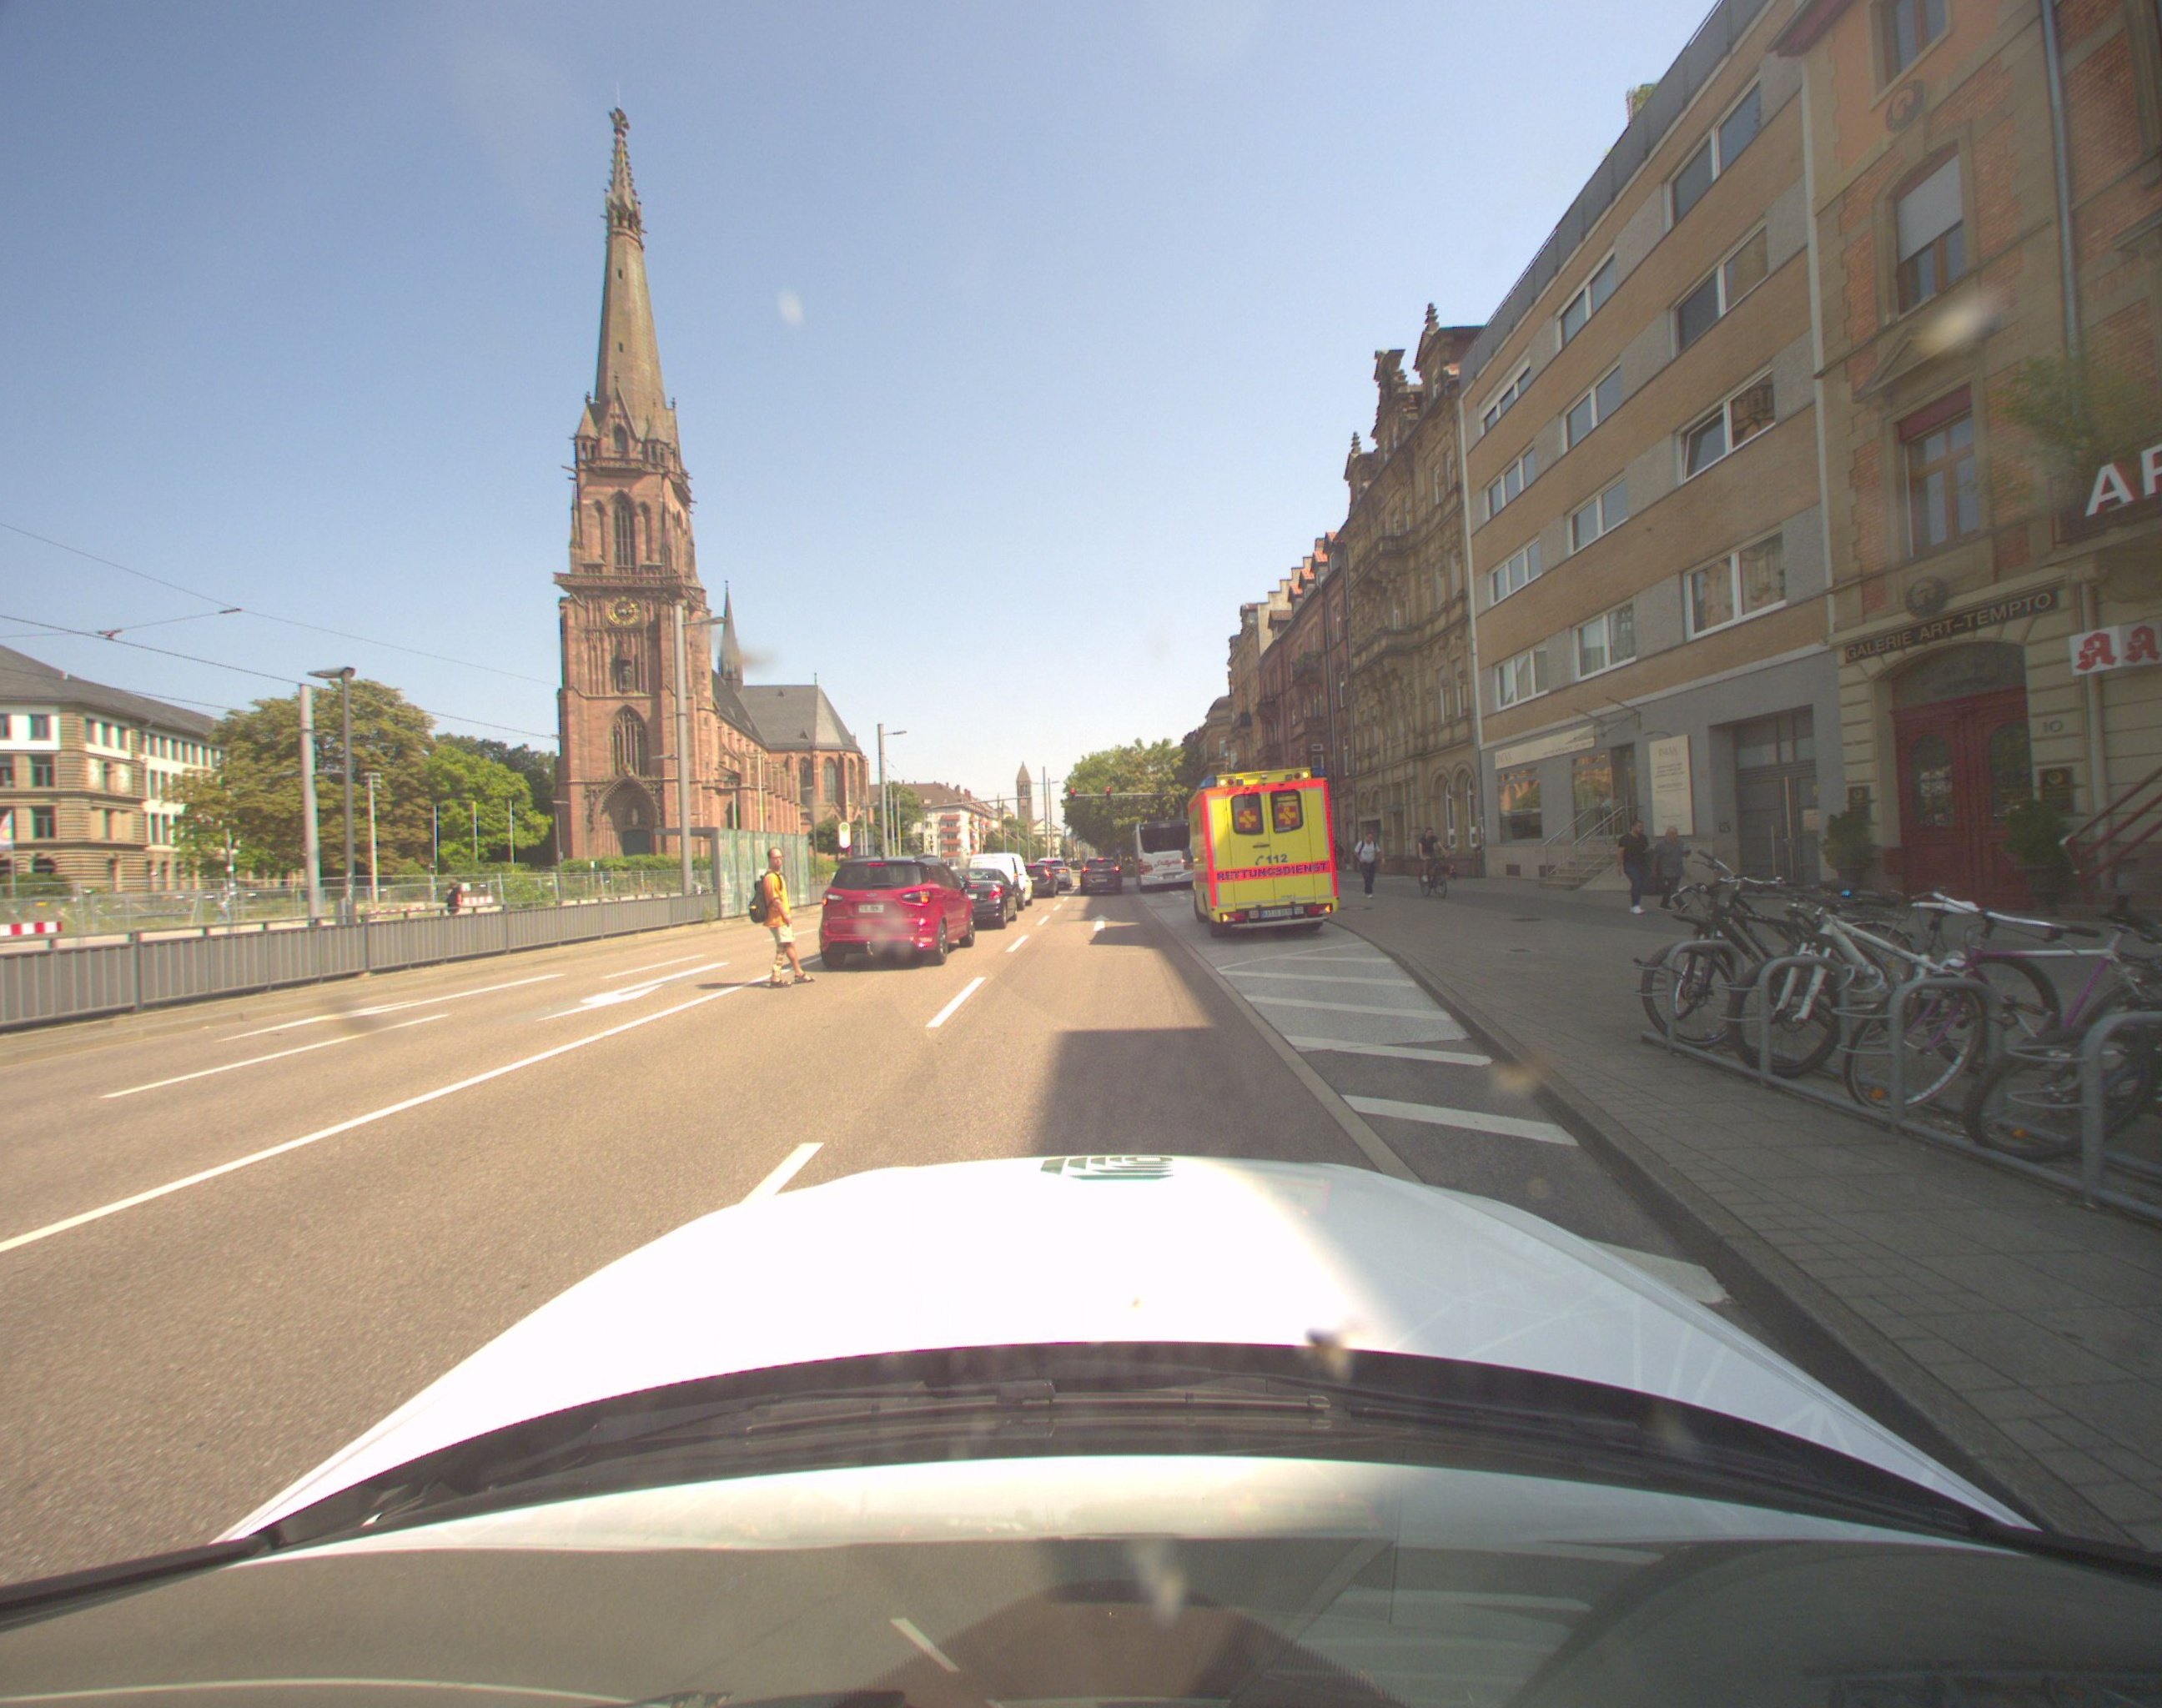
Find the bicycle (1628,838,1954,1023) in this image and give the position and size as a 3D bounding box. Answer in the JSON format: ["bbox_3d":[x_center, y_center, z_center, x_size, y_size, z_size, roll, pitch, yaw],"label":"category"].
[{"bbox_3d":[5.015,0.529,5.846,1.665,1.215,0.645,-2,-1,6],"label":"bicycle"}]

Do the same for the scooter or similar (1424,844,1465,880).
[{"bbox_3d":[12.695,0.285,28.456,0.514,1.196,1.296,-2,-1,-17],"label":"scooter or similar"}]

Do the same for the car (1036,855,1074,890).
[{"bbox_3d":[-1.352,0.993,43.127,1.784,1.698,3.999,-2,-1,0],"label":"car"}]

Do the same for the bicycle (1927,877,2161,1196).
[{"bbox_3d":[4.225,0.636,3.078,1.531,1.071,0.472,-2,1,1],"label":"bicycle"}]

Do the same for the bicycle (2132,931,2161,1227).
[{"bbox_3d":[4.256,0.713,2.507,1.531,0.952,0.365,-2,1,1],"label":"bicycle"}]

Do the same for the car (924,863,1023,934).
[{"bbox_3d":[-2.479,0.981,19.652,1.784,1.431,3.999,-3,0,0],"label":"car"}]

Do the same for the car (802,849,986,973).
[{"bbox_3d":[-2.808,0.786,13.209,1.755,1.618,4.086,-3,0,3],"label":"car"}]

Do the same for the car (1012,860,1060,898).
[{"bbox_3d":[-1.886,1.043,35.187,1.784,1.472,3.999,-2,-1,0],"label":"car"}]

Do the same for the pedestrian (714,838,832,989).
[{"bbox_3d":[-3.792,0.720,10.080,1.059,1.752,0.765,-3,-1,8],"label":"pedestrian"}]

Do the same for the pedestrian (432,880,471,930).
[{"bbox_3d":[-22.965,1.852,29.711,0.826,1.752,0.721,-3,-1,2],"label":"pedestrian"}]

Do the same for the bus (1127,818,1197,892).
[{"bbox_3d":[3.788,0.066,40.848,2.524,3.032,12.440,-3,0,2],"label":"bus"}]

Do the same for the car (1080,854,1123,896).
[{"bbox_3d":[0.885,0.932,36.533,1.784,1.677,3.999,-2,-1,0],"label":"car"}]

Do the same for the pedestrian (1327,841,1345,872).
[{"bbox_3d":[13.454,0.148,43.049,0.621,1.593,0.695,-3,-1,-4],"label":"pedestrian"}]

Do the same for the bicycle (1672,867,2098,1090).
[{"bbox_3d":[4.332,0.641,4.478,1.652,1.072,0.644,-2,-1,1],"label":"bicycle"}]

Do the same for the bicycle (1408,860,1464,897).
[{"bbox_3d":[8.882,0.604,20.452,0.587,0.855,1.775,-4,-2,0],"label":"bicycle"}]

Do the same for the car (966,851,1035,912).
[{"bbox_3d":[-2.573,0.888,26.851,1.784,1.780,3.999,-2,-1,0],"label":"car"}]

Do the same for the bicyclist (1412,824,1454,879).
[{"bbox_3d":[8.818,-0.051,20.401,0.750,1.322,0.582,-3,-1,1],"label":"bicyclist"}]

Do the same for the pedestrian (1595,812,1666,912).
[{"bbox_3d":[9.681,0.142,14.376,0.641,1.685,0.789,-3,-1,1],"label":"pedestrian"}]

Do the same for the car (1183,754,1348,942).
[{"bbox_3d":[3.312,-0.103,15.924,2.288,2.888,5.608,-4,0,6],"label":"car"}]

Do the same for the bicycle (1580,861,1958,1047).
[{"bbox_3d":[4.316,0.616,5.225,1.767,1.072,0.645,-2,-1,6],"label":"bicycle"}]

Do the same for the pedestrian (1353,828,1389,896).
[{"bbox_3d":[7.423,0.203,20.833,0.690,1.667,0.606,-4,0,27],"label":"pedestrian"}]

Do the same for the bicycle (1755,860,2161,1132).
[{"bbox_3d":[4.169,0.594,3.705,1.652,1.071,0.644,-2,1,1],"label":"bicycle"}]

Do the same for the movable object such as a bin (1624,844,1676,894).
[{"bbox_3d":[12.393,0.329,17.734,0.651,1.047,0.755,-3,-1,-42],"label":"movable object such as a bin"}]

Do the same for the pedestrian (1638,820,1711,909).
[{"bbox_3d":[10.451,0.185,14.355,0.641,1.493,0.789,-3,-1,1],"label":"pedestrian"}]
